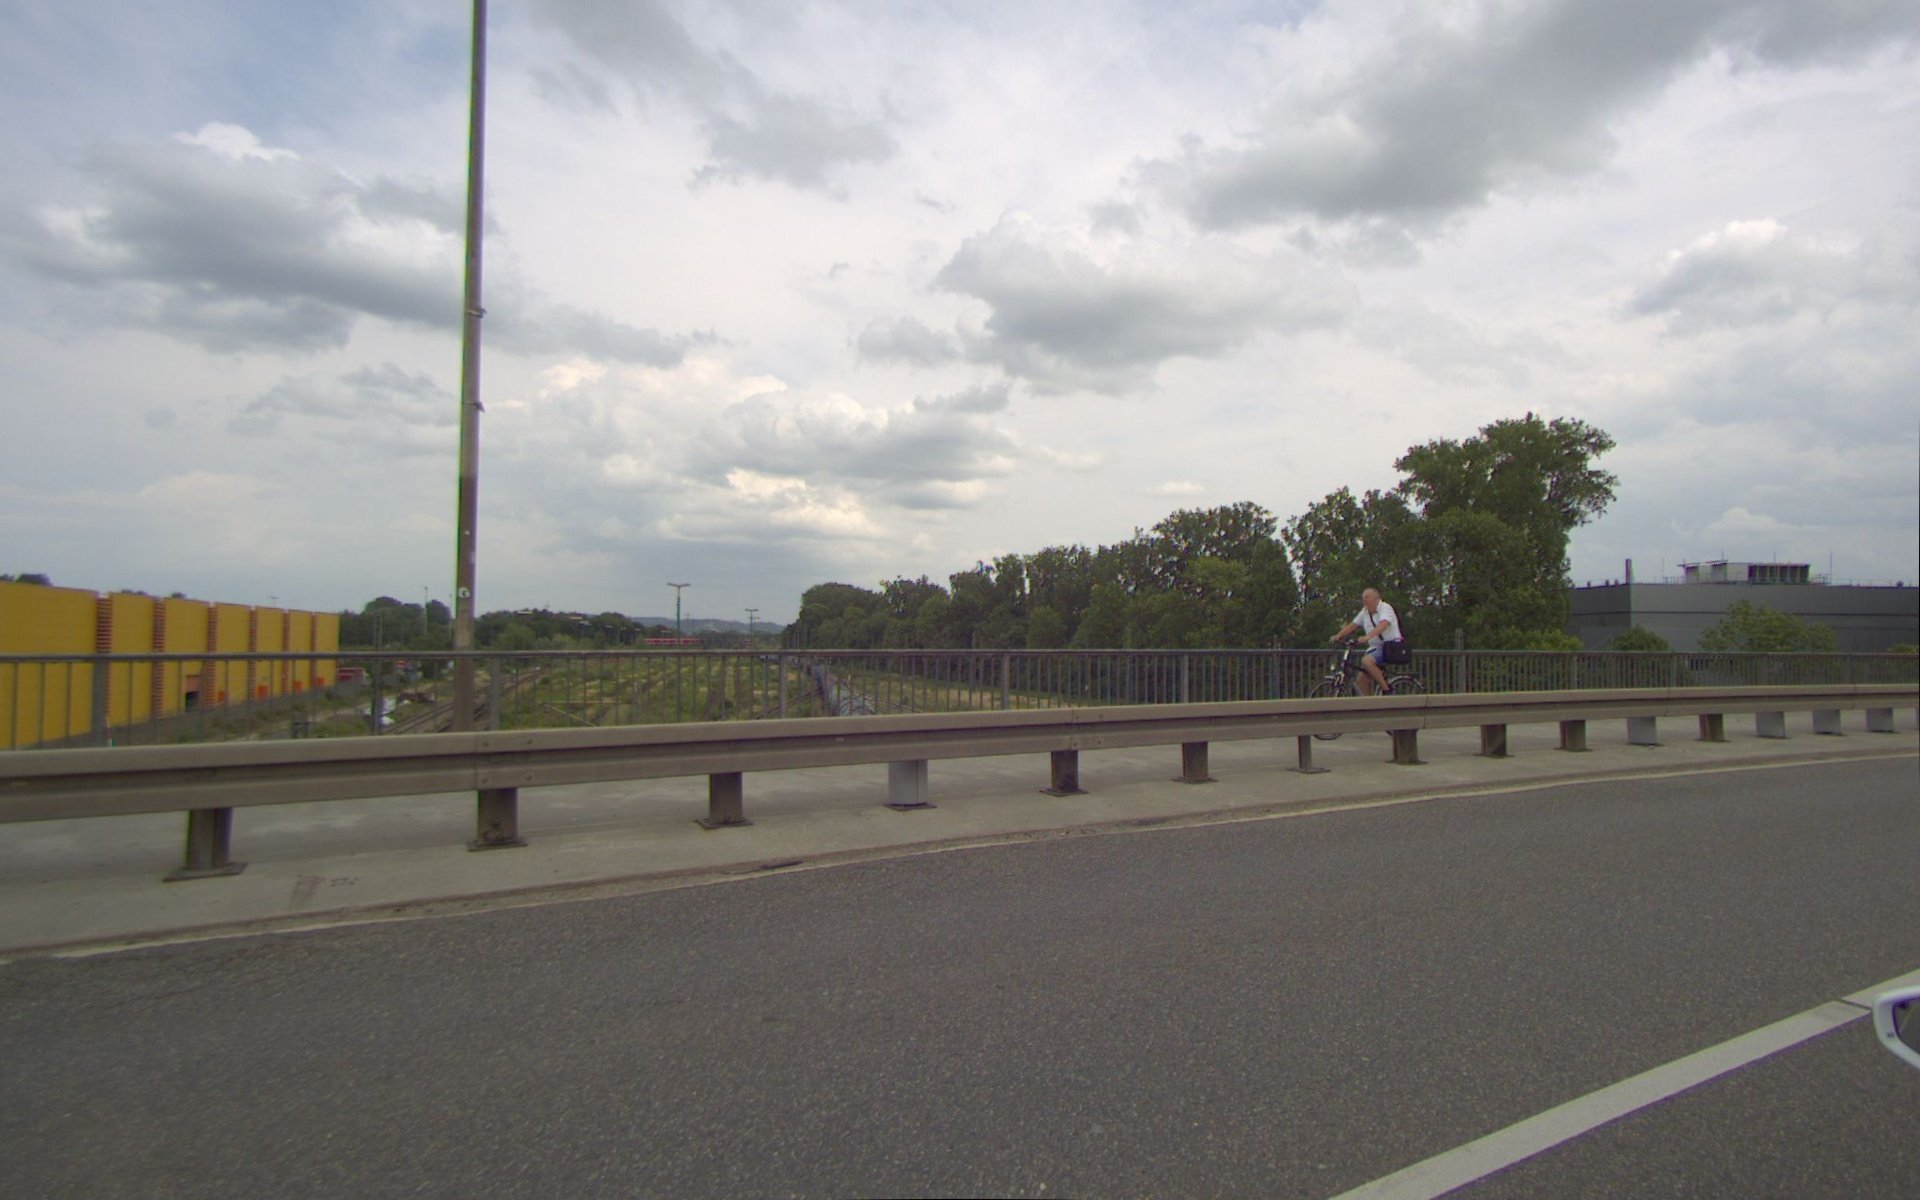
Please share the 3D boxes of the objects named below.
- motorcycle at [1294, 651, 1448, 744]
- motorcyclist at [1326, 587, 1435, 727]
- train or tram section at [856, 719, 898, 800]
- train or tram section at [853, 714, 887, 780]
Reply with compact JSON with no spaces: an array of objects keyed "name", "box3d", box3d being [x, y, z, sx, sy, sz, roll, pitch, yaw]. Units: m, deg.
[{"name":"motorcycle","box3d":[4.771,1.094,11.622,1.817,0.976,0.623,2,0,-28]},{"name":"motorcyclist","box3d":[4.859,0.634,11.633,0.814,1.550,0.806,1,0,-29]},{"name":"train or tram section","box3d":[-5.245,9.591,62.153,1.963,4.147,12.757,2,-5,-7]},{"name":"train or tram section","box3d":[-6.783,10.717,74.574,1.963,4.147,12.756,2,-5,-7]}]
